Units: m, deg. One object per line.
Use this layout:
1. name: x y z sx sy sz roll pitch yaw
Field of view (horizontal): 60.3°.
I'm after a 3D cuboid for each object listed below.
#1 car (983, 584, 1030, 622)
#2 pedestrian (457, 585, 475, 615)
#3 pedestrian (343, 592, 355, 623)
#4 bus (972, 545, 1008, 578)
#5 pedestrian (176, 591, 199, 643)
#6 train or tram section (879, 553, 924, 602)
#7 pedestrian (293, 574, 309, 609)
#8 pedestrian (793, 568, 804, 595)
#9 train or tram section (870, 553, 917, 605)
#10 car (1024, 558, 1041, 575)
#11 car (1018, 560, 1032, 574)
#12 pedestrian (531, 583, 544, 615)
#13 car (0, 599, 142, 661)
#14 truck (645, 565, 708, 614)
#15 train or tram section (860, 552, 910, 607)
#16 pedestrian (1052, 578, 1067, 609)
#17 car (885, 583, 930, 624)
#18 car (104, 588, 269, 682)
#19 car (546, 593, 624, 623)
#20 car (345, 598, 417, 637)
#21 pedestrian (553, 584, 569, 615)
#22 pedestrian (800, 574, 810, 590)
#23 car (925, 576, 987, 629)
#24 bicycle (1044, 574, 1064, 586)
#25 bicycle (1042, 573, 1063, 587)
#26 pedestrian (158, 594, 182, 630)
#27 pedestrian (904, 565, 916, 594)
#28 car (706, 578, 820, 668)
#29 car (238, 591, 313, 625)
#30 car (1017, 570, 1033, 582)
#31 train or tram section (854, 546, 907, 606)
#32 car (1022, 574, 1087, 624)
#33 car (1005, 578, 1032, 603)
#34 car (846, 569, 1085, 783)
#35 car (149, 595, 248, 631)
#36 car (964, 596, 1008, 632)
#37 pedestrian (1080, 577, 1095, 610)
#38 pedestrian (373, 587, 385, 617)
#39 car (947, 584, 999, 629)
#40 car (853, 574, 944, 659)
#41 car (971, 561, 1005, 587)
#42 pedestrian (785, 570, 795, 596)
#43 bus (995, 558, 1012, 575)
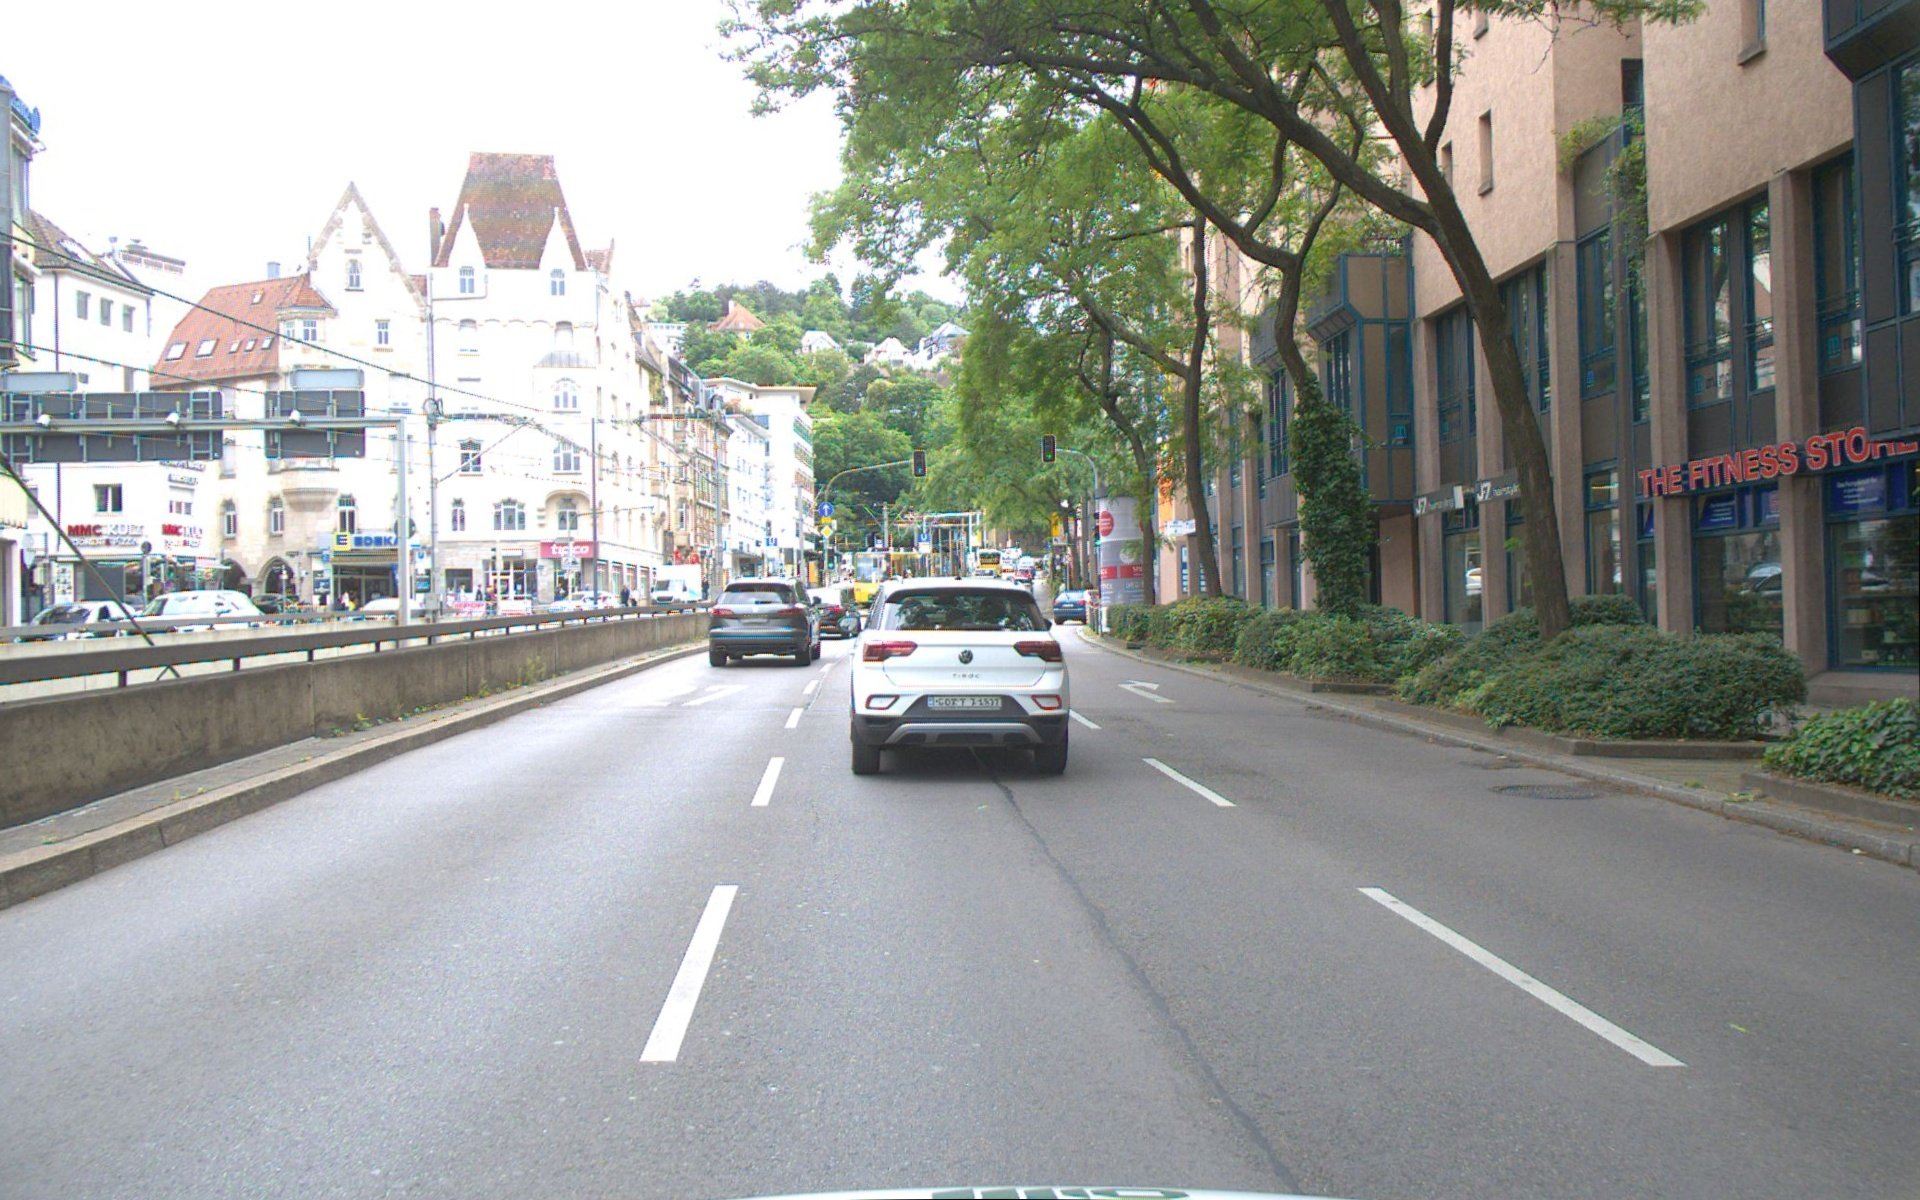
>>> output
1. car: 2.581 0.138 92.705 2.317 2.049 5.146 0 0 -2
2. pedestrian: -28.846 -0.025 96.558 0.765 1.735 0.654 -1 0 9
3. pedestrian: -35.866 0.441 97.049 0.568 1.811 0.507 -1 0 -28
4. bus: 3.193 -3.930 171.100 3.301 3.118 13.329 0 0 3
5. pedestrian: -26.960 0.588 57.729 0.499 1.811 0.577 -1 0 5
6. train or tram section: -4.339 -1.695 123.485 2.775 3.582 5.755 0 1 3
7. pedestrian: -33.815 -0.427 84.902 0.564 1.811 0.510 -1 0 29
8. pedestrian: -10.609 -1.204 108.687 0.613 1.793 0.847 -1 0 4
9. train or tram section: -4.714 -1.518 117.713 2.775 3.582 5.755 0 1 3
10. car: 9.209 -4.221 210.607 1.953 2.049 4.000 0 0 0
11. car: 7.683 -3.883 194.388 1.638 1.588 3.680 0 0 3
12. pedestrian: -24.250 -0.057 94.947 0.563 1.811 0.512 -1 0 8
13. car: -23.812 0.757 44.373 1.630 1.527 4.412 -1 1 -1
14. truck: -18.479 -0.679 108.275 2.218 3.130 7.379 0 0 5
15. train or tram section: -5.062 -1.416 111.966 2.775 3.582 5.755 0 1 3
16. pedestrian: 5.890 -0.382 97.533 0.679 1.808 0.689 -5 0 -1
17. car: -2.347 0.145 72.930 1.847 1.713 4.158 0 0 -4
18. car: -17.088 0.723 36.798 1.798 1.874 4.599 3 0 -6
19. car: -20.864 0.427 92.130 1.715 1.588 4.508 0 0 28
20. car: -24.110 0.707 69.003 1.630 1.527 4.042 -1 0 -1
21. pedestrian: -23.126 -0.038 95.857 0.694 1.811 0.596 -1 0 19
22. pedestrian: -10.987 -1.253 117.026 0.622 1.127 0.690 -1 1 3
23. car: -0.179 0.086 55.795 1.847 1.713 4.158 0 0 -4
24. bicycle: 8.929 -1.913 156.838 1.840 1.157 0.809 0 0 9
25. bicycle: 8.684 -1.852 155.356 1.841 1.288 0.765 0 0 14
26. pedestrian: -38.405 0.594 80.402 0.765 1.735 0.654 -1 0 9
27. pedestrian: -3.116 -1.262 102.228 0.671 1.741 0.712 -1 1 3
28. car: -3.824 0.410 32.666 1.954 1.664 3.998 0 0 -3
29. car: -38.743 0.454 93.613 3.691 1.713 1.638 -3 0 17
30. car: 6.367 -2.327 161.274 1.549 1.193 3.680 0 0 3
31. train or tram section: -5.074 -1.529 106.186 2.775 3.743 5.755 0 1 3
32. car: 4.016 -0.052 70.929 2.317 2.049 5.146 0 0 -2
33. car: 4.205 -0.666 118.611 1.845 1.713 4.163 0 0 3
34. car: -0.077 0.569 14.565 1.801 1.611 4.154 0 0 -4
35. car: -34.659 0.577 75.367 3.974 1.527 1.658 -1 0 -22
36. car: 1.148 0.590 74.060 1.904 1.557 4.000 0 0 1
37. pedestrian: 7.408 -0.384 96.202 0.706 1.834 0.834 -3 3 -1
38. pedestrian: -35.269 0.133 100.362 0.565 1.811 0.510 -1 0 -11
39. car: 0.667 0.300 78.475 2.315 2.049 5.149 0 0 2
40. car: -1.378 0.331 35.821 1.847 1.713 4.158 0 0 -4
41. car: 2.315 -2.114 135.046 2.314 2.049 5.152 0 0 6
42. pedestrian: -11.575 -1.173 112.701 0.623 1.741 0.689 -1 1 -6
43. bus: 5.398 -4.179 205.349 1.953 2.049 3.999 0 0 -2
